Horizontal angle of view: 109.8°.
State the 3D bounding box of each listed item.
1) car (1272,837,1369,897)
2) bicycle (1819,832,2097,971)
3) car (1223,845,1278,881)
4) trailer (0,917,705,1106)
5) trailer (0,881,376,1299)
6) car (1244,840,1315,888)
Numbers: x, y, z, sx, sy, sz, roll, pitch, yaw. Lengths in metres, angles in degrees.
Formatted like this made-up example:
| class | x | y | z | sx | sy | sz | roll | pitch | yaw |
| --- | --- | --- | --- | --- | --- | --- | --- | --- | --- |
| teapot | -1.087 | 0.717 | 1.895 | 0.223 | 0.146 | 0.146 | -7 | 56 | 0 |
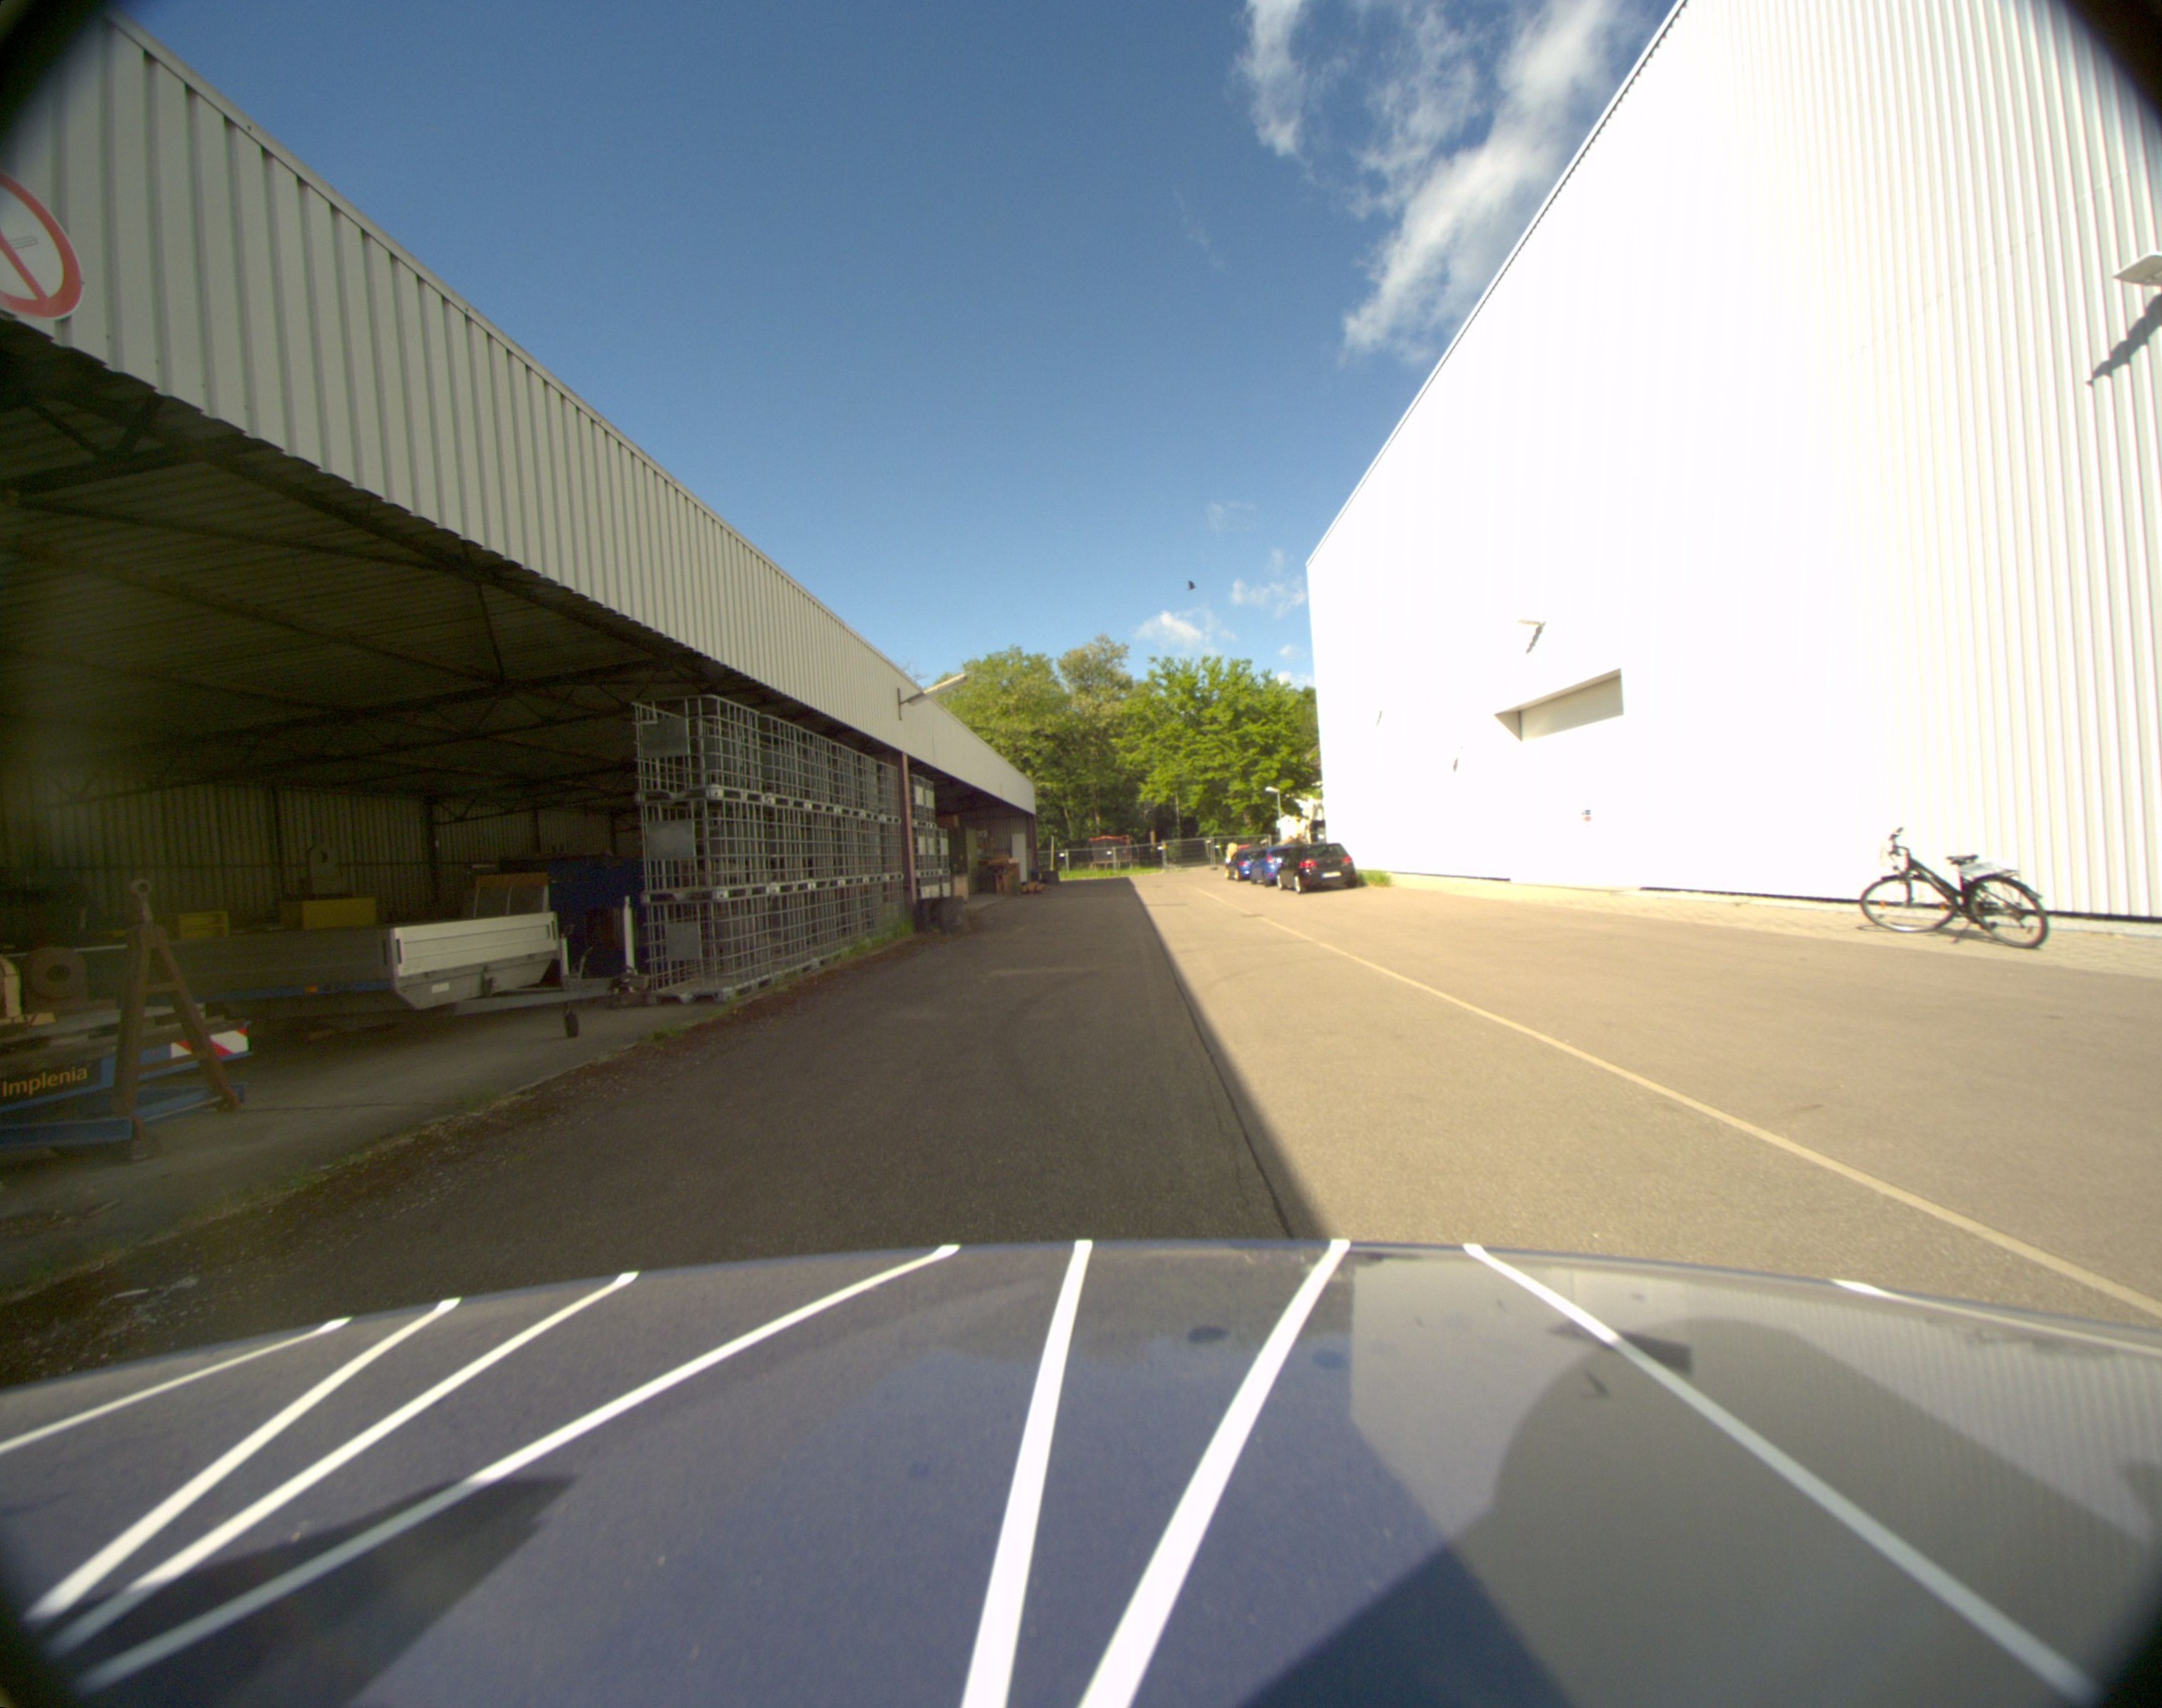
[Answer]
| class | x | y | z | sx | sy | sz | roll | pitch | yaw |
| --- | --- | --- | --- | --- | --- | --- | --- | --- | --- |
| car | 7.320 | 0.347 | 23.672 | 1.895 | 1.513 | 4.001 | -7 | 0 | 4 |
| bicycle | 8.665 | 0.407 | 7.673 | 0.909 | 1.136 | 1.901 | -7 | 0 | 18 |
| car | 7.611 | 0.361 | 34.423 | 1.789 | 1.431 | 4.001 | -3 | 0 | 4 |
| trailer | -6.921 | 1.366 | 7.029 | 5.836 | 1.113 | 2.029 | -3 | 0 | 2 |
| trailer | -6.806 | 1.105 | 3.670 | 4.879 | 1.619 | 2.029 | -3 | 0 | 2 |
| car | 7.462 | 0.345 | 28.922 | 1.789 | 1.513 | 4.001 | -7 | 0 | 5 |
